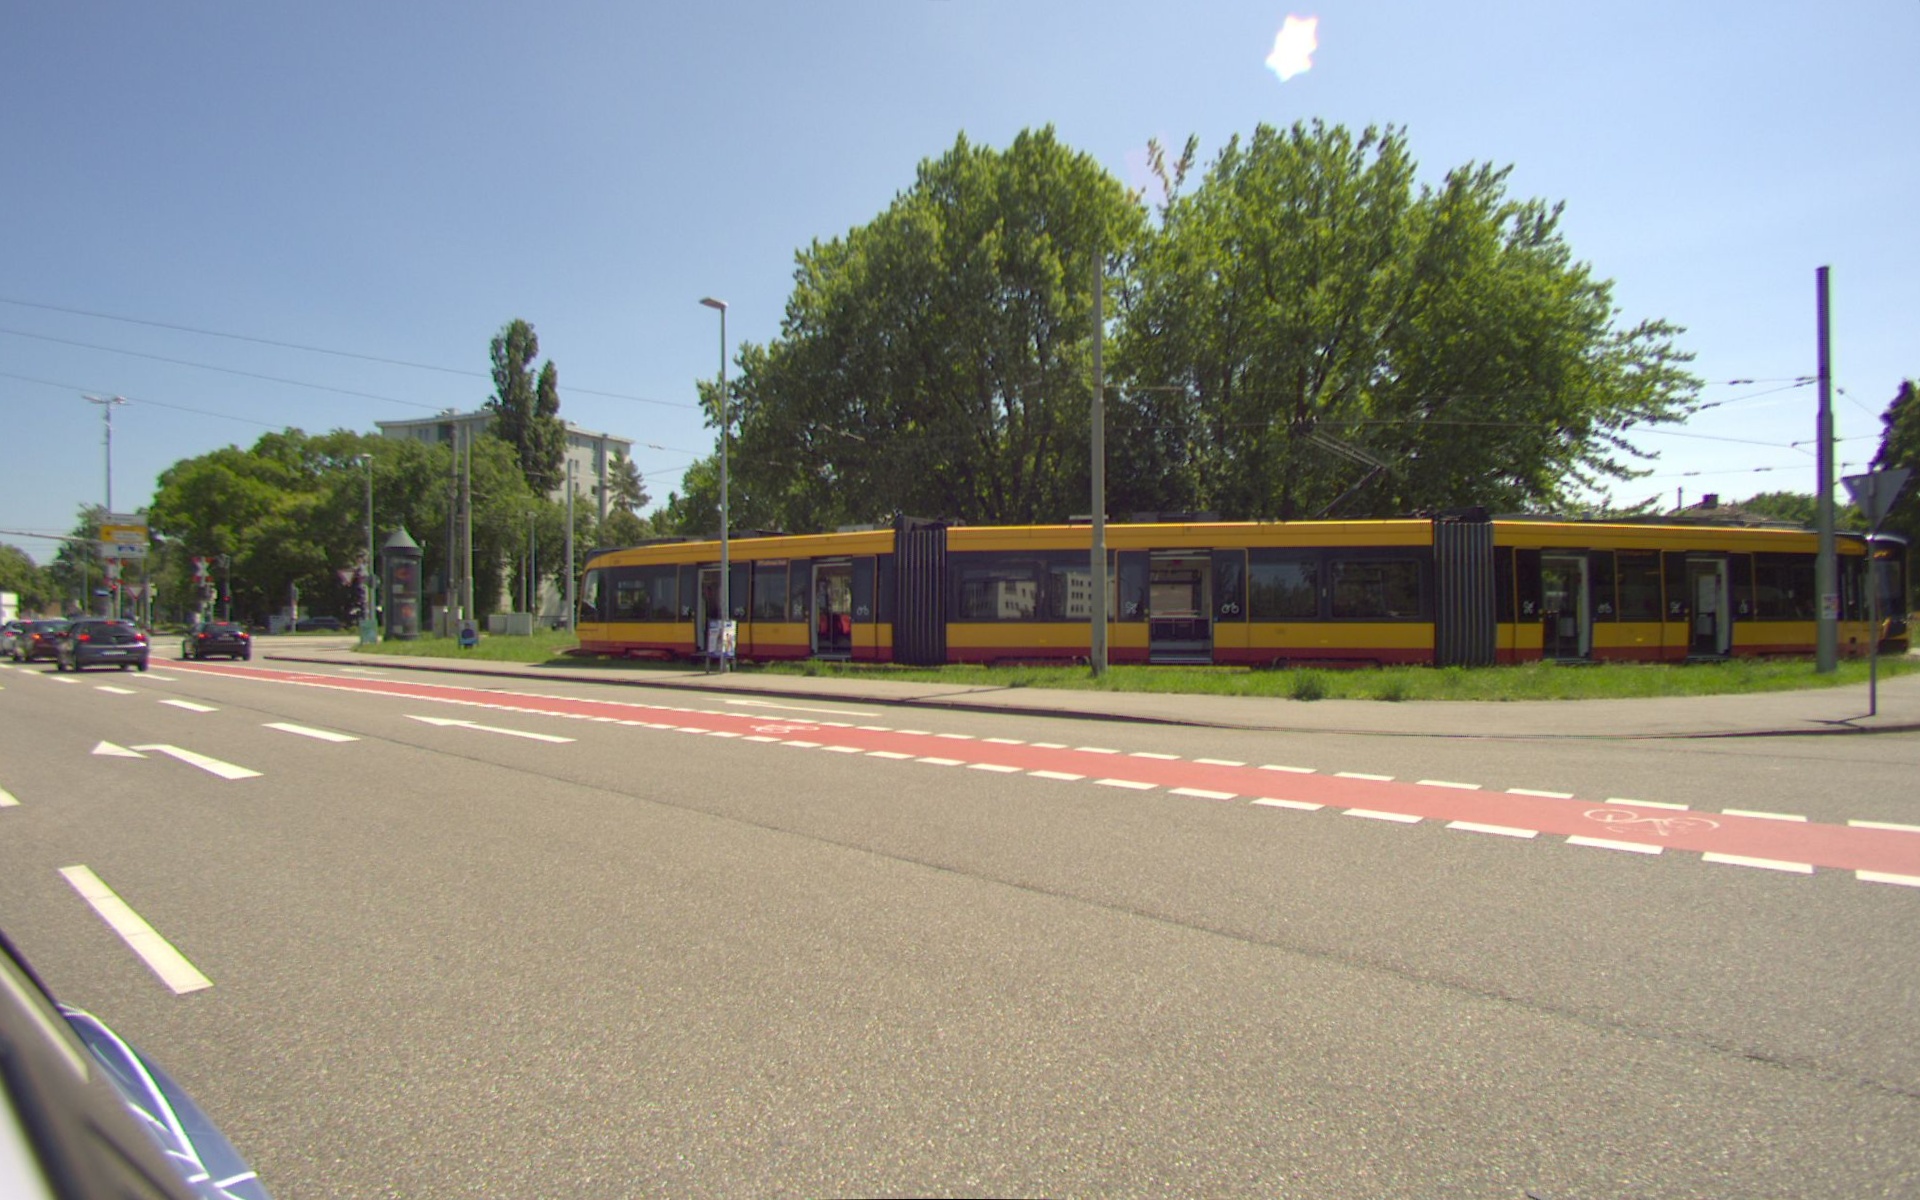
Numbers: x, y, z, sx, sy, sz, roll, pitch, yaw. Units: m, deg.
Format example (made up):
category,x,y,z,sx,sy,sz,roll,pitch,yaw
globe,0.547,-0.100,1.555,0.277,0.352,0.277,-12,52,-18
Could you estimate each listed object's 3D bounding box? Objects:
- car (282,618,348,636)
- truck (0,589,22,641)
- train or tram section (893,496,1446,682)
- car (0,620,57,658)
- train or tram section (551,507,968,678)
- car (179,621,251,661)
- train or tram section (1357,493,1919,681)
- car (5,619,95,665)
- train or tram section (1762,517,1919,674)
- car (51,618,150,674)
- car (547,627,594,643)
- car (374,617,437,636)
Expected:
category,x,y,z,sx,sy,sz,roll,pitch,yaw
car,-49.581,2.079,77.890,3.931,1.296,1.892,0,-3,-20
truck,-71.134,1.082,70.838,7.579,3.560,2.596,0,-3,-18
train or tram section,4.407,-0.151,23.000,11.486,3.788,3.017,0,-2,9
car,-38.205,1.557,41.127,4.411,1.467,1.772,-1,-2,42
train or tram section,-5.951,-0.009,27.493,12.963,3.788,2.990,-1,-3,35
car,-28.175,1.536,38.232,1.723,1.416,4.445,0,-2,-43
train or tram section,16.204,-0.140,23.773,13.808,3.788,3.035,1,-2,-17
car,-31.414,1.416,34.908,4.282,1.468,1.742,-1,-1,40
train or tram section,26.573,0.111,30.620,3.020,3.788,14.018,-1,-3,36
car,-24.237,1.266,28.519,3.500,1.467,1.605,-1,-2,41
car,-32.208,2.898,83.766,3.582,1.296,1.610,0,-3,-20
car,-41.493,1.988,75.803,3.931,1.296,1.752,0,-3,-20
